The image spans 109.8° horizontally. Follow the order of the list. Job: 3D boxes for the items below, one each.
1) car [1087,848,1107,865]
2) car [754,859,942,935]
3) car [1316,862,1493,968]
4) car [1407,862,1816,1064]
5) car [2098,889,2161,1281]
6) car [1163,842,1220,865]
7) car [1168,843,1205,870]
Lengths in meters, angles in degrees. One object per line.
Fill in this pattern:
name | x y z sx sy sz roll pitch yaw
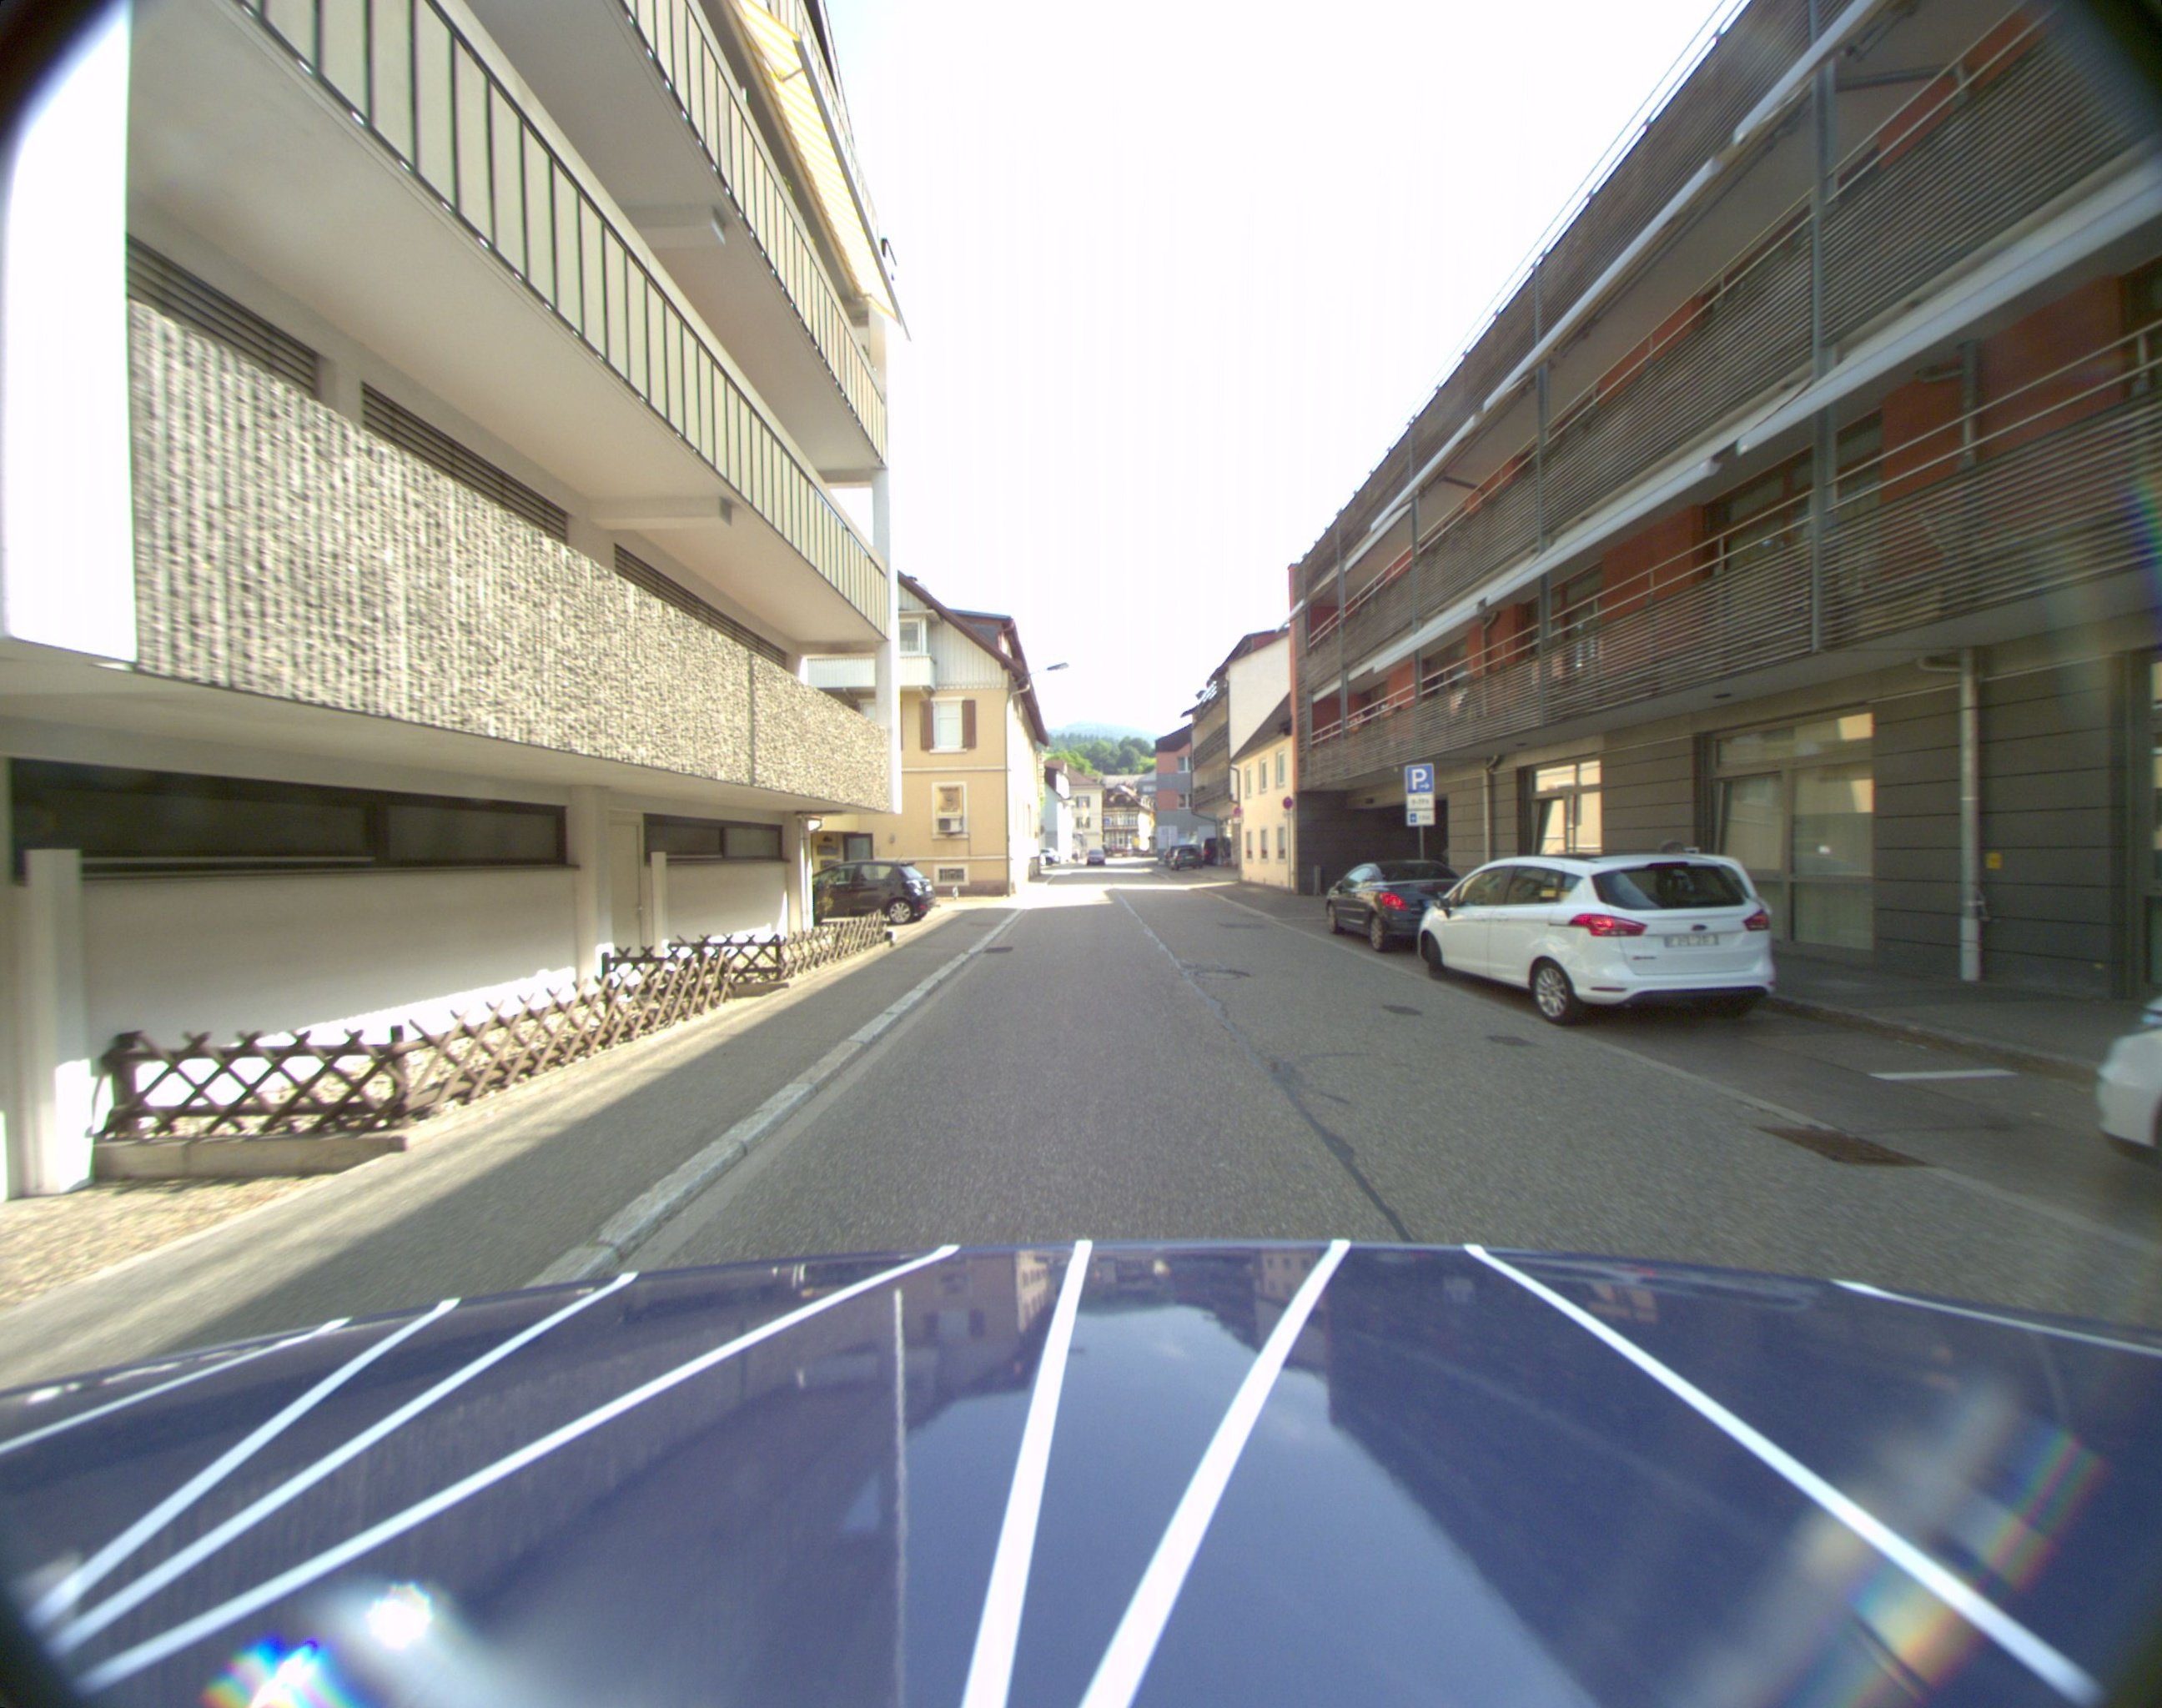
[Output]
car | 1.535 0.231 73.367 1.822 1.652 3.999 0 0 0
car | -5.400 0.972 17.964 3.837 1.471 1.700 -3 1 -1
car | 5.313 0.923 12.976 1.552 1.408 3.594 -2 1 2
car | 5.105 0.903 8.036 1.678 1.546 3.764 -2 0 0
car | 5.207 0.920 1.283 1.679 1.580 3.949 -2 0 0
car | 8.407 -0.028 57.989 3.999 1.673 1.834 -1 -1 -7
car | 6.841 0.139 49.526 1.786 1.566 3.888 -4 0 1
